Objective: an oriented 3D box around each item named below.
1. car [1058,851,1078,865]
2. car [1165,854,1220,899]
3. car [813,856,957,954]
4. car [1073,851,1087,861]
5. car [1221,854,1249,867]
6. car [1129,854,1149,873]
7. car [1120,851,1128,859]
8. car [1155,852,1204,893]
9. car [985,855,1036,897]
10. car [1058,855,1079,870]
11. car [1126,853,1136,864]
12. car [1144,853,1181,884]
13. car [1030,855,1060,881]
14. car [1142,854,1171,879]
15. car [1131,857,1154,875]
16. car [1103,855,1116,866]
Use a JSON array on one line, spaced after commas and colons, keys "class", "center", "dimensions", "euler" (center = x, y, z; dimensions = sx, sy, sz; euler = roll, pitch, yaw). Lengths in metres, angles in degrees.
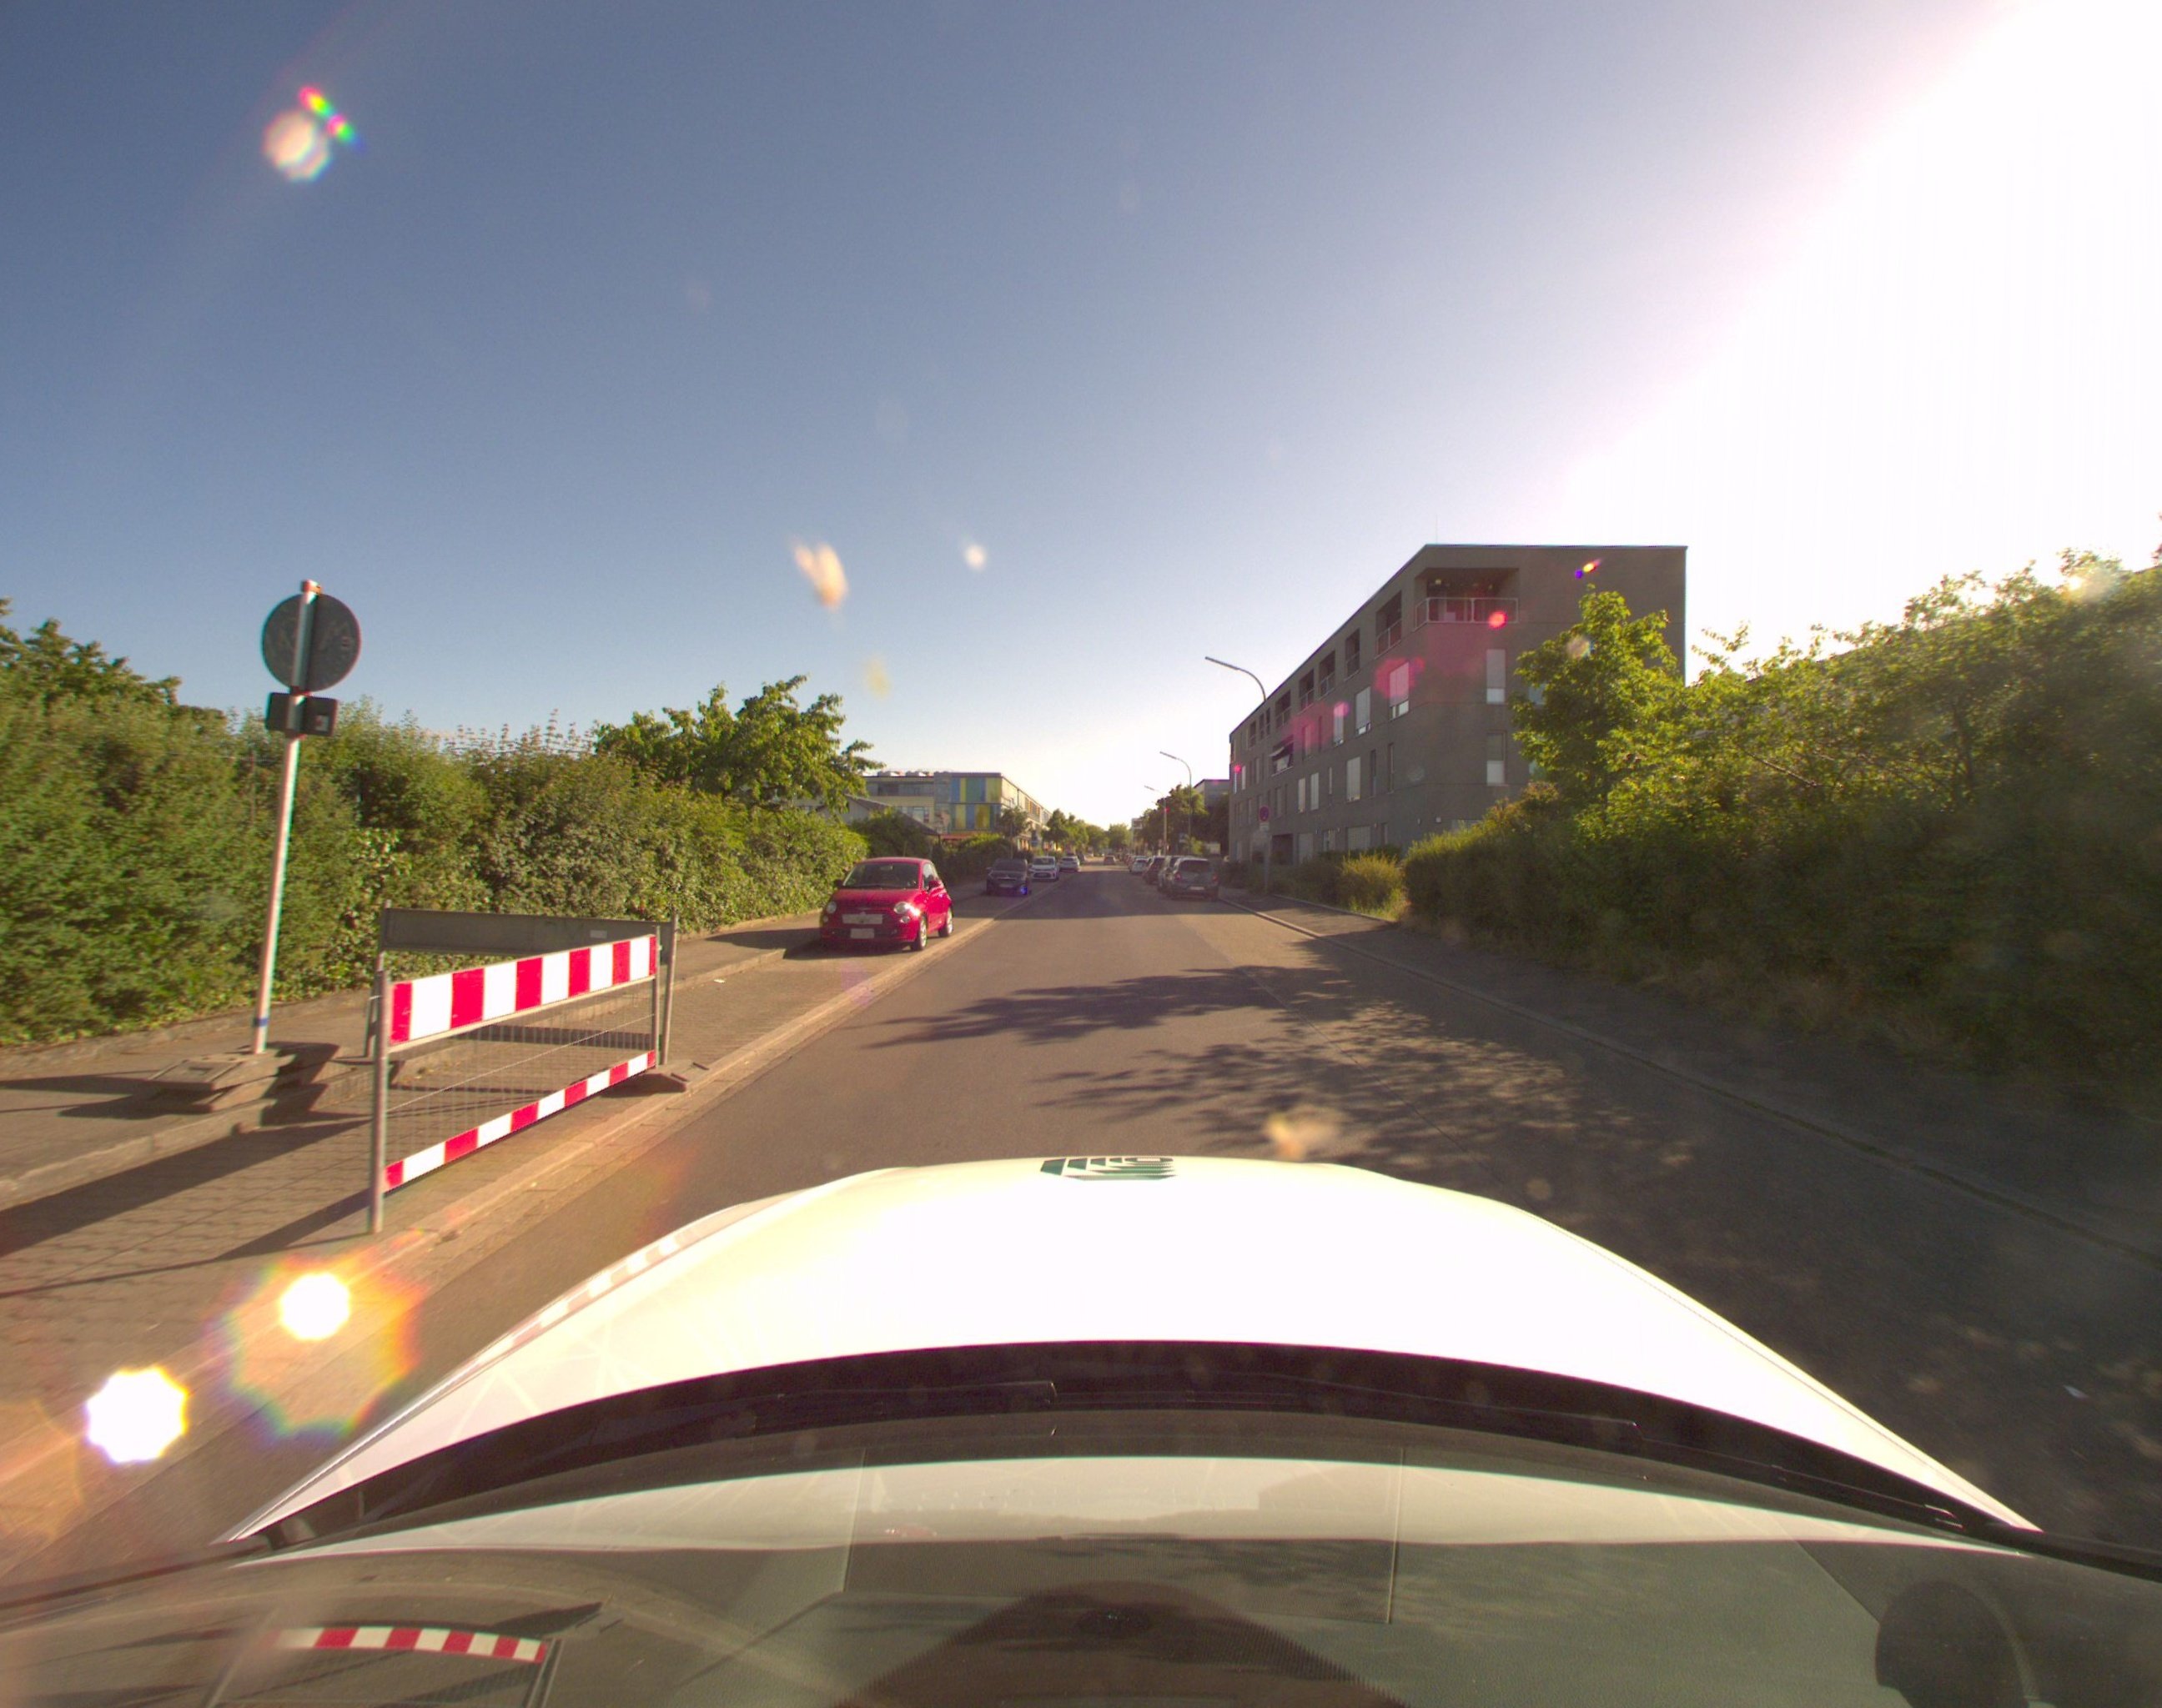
[{"class": "car", "center": [-1.356, 0.410, 85.923], "dimensions": [1.847, 1.428, 4.135], "euler": [2, 0, 1]}, {"class": "car", "center": [4.094, 0.795, 30.423], "dimensions": [1.616, 1.526, 3.904], "euler": [3, 0, 3]}, {"class": "car", "center": [-3.243, 0.777, 14.135], "dimensions": [1.554, 1.495, 3.571], "euler": [0, 0, 1]}, {"class": "car", "center": [-0.149, 0.384, 138.001], "dimensions": [1.845, 1.563, 4.141], "euler": [2, 0, 6]}, {"class": "car", "center": [18.868, 0.807, 99.956], "dimensions": [3.201, 1.460, 1.451], "euler": [2, 0, 4]}, {"class": "car", "center": [5.337, 0.843, 75.639], "dimensions": [1.627, 1.630, 3.614], "euler": [2, 0, 1]}, {"class": "car", "center": [8.699, 0.276, 165.662], "dimensions": [1.440, 1.549, 3.614], "euler": [2, 0, 1]}, {"class": "car", "center": [4.225, 0.775, 35.478], "dimensions": [1.670, 1.608, 4.179], "euler": [3, 0, 1]}, {"class": "car", "center": [-2.751, 0.817, 32.282], "dimensions": [1.554, 1.495, 3.571], "euler": [3, 0, 1]}, {"class": "car", "center": [-1.200, 0.800, 78.625], "dimensions": [1.847, 1.428, 4.135], "euler": [2, 0, 1]}, {"class": "car", "center": [7.623, 0.721, 124.248], "dimensions": [1.440, 1.549, 3.614], "euler": [2, 0, 1]}, {"class": "car", "center": [4.513, 0.775, 45.690], "dimensions": [1.735, 1.625, 4.180], "euler": [2, 0, 1]}, {"class": "car", "center": [-2.157, 0.800, 49.325], "dimensions": [1.554, 1.495, 3.759], "euler": [0, 0, 1]}, {"class": "car", "center": [5.011, 0.837, 54.681], "dimensions": [1.651, 1.551, 3.852], "euler": [2, 0, 1]}, {"class": "car", "center": [5.210, 0.973, 69.628], "dimensions": [1.735, 1.428, 4.135], "euler": [2, 0, 1]}, {"class": "car", "center": [4.095, 0.909, 116.331], "dimensions": [1.683, 1.549, 3.614], "euler": [2, 0, 1]}]
